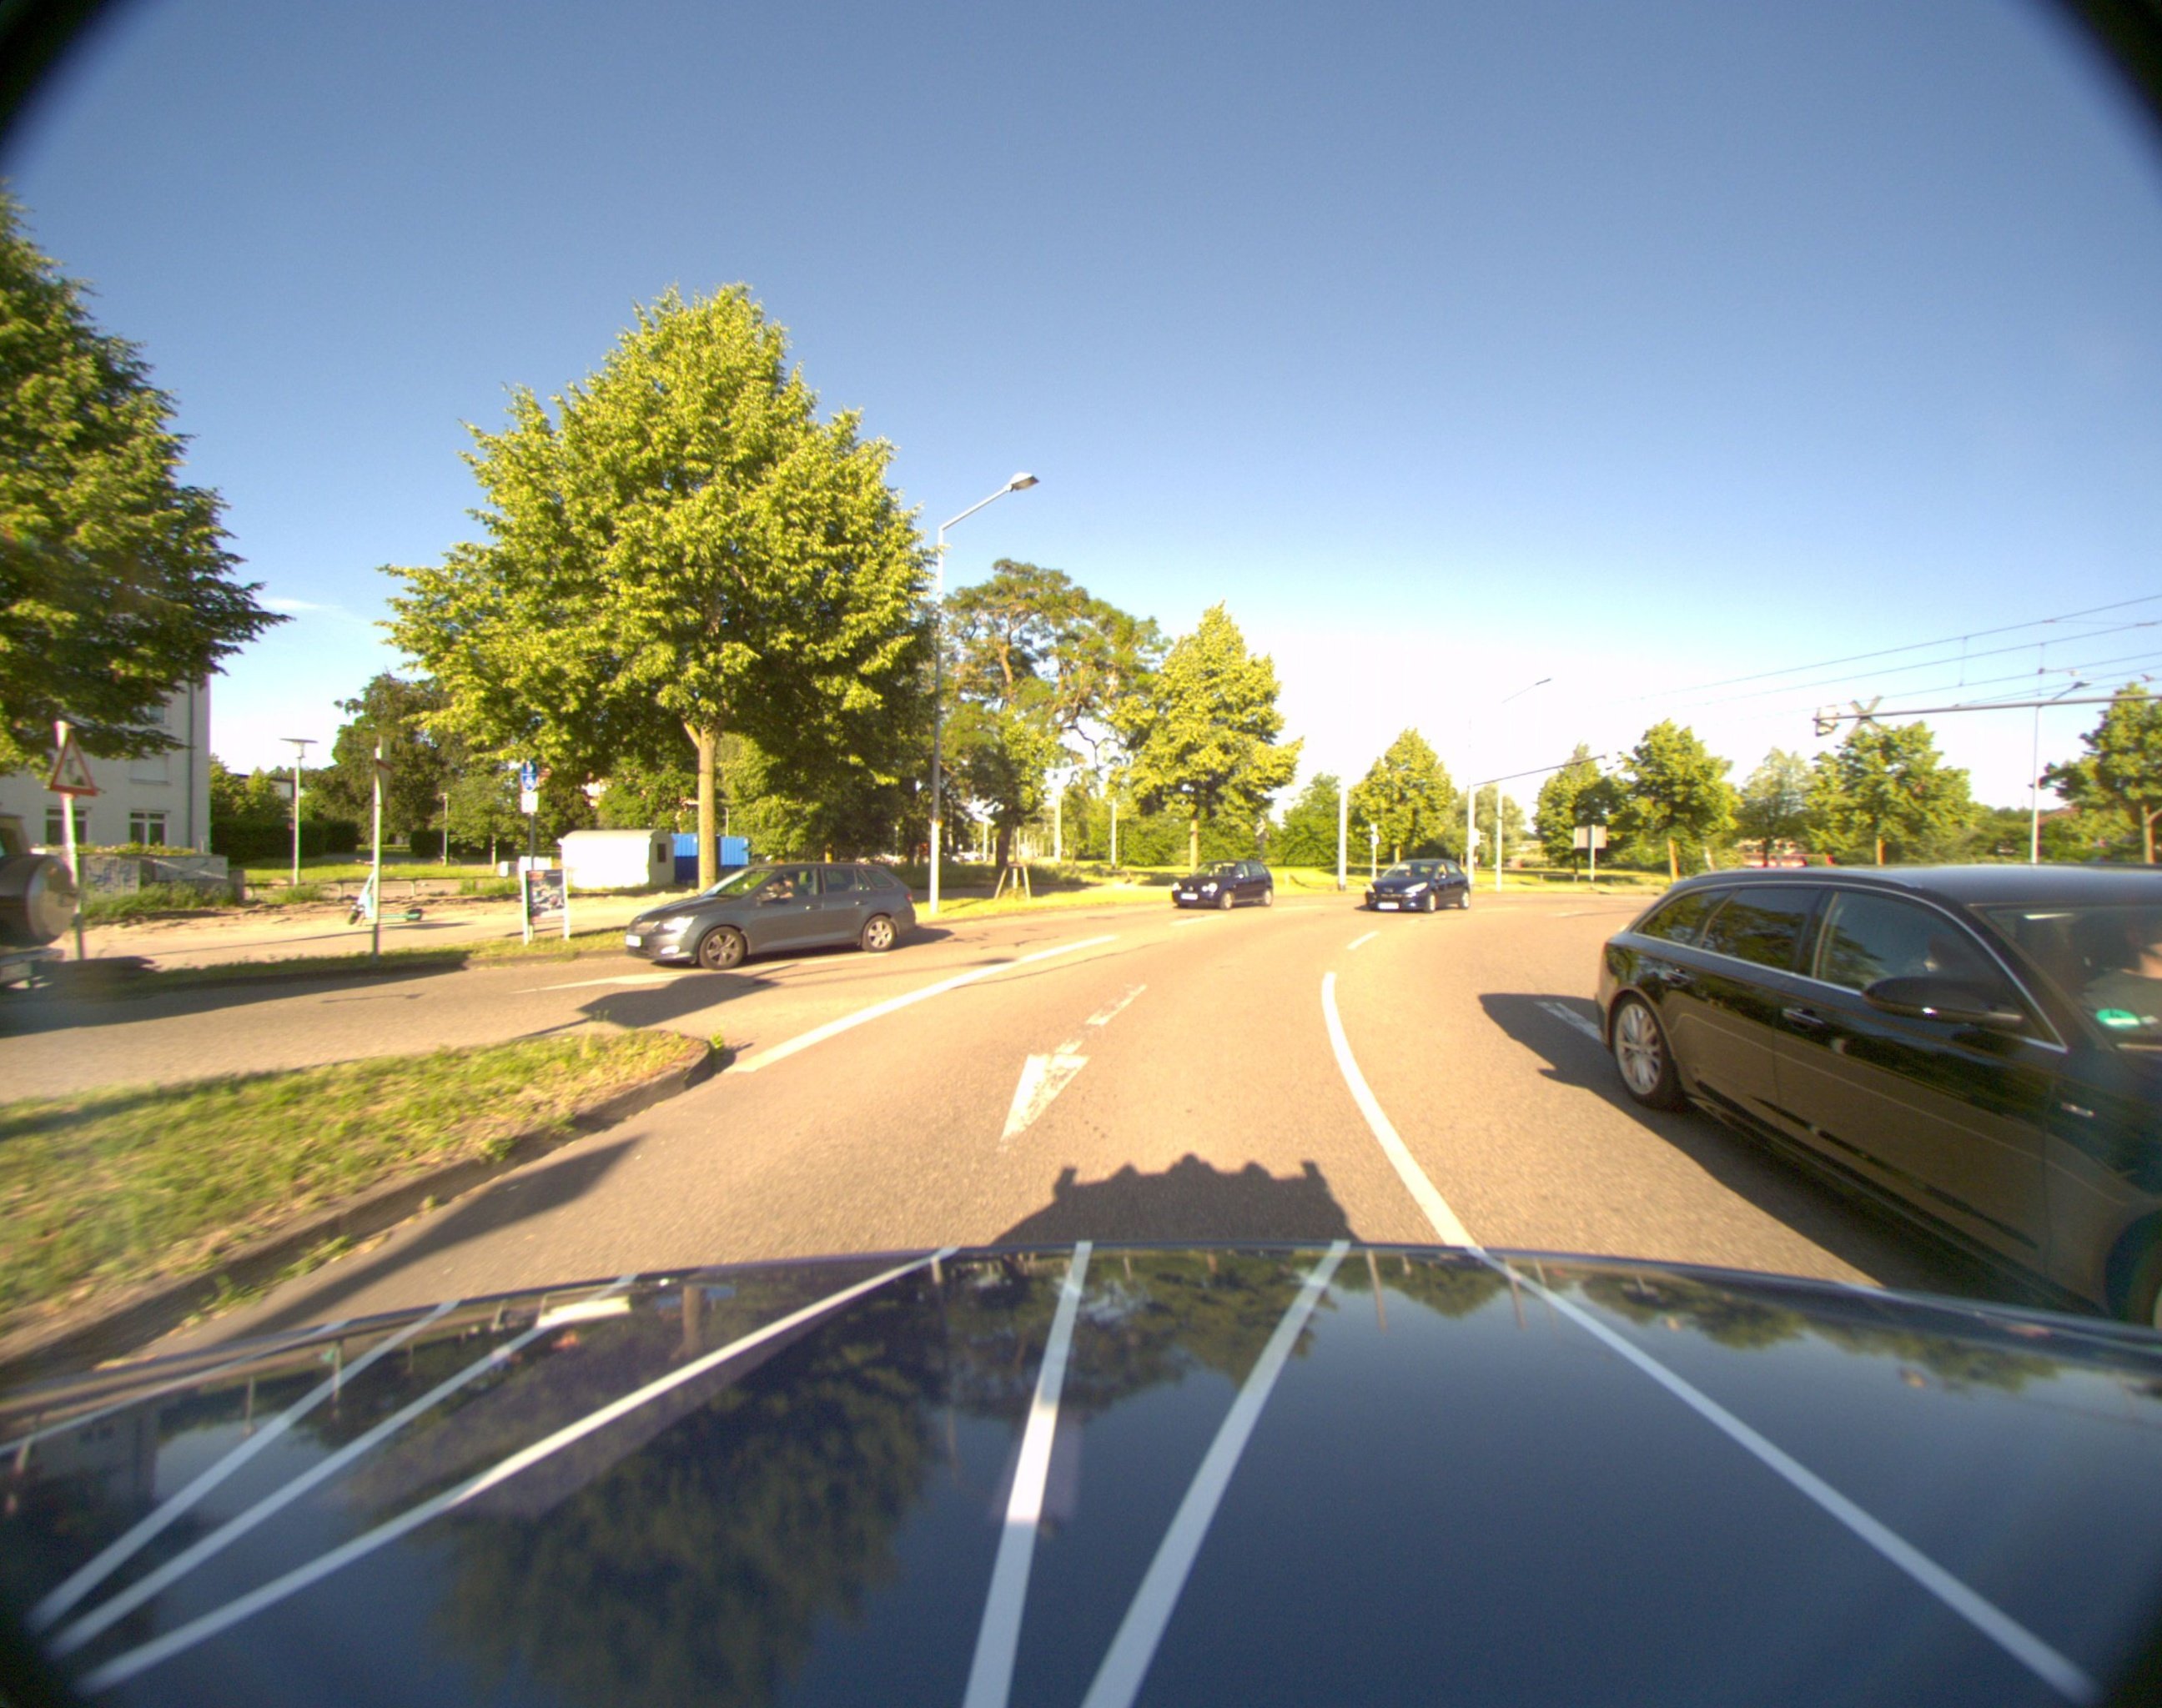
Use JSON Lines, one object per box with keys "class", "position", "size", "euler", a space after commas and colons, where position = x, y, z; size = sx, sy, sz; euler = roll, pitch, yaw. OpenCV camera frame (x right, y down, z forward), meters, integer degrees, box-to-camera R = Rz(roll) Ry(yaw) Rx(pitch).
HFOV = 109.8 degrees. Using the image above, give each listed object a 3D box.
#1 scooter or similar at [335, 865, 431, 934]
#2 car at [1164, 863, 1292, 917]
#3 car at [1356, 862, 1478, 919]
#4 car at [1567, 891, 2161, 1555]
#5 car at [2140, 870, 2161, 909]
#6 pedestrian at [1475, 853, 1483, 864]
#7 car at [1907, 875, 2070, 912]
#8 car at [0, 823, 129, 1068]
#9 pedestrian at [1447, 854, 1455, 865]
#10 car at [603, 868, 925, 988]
{"class": "scooter or similar", "position": [-13.420, 0.849, 14.641], "size": [0.443, 1.240, 1.267], "euler": [-1, 0, 22]}
{"class": "car", "position": [4.570, 1.024, 23.171], "size": [1.633, 1.459, 4.556], "euler": [0, 0, 43]}
{"class": "car", "position": [9.702, 0.977, 21.791], "size": [4.008, 1.445, 1.753], "euler": [0, -1, -43]}
{"class": "car", "position": [3.738, 0.958, 2.753], "size": [1.795, 1.434, 5.023], "euler": [-1, -1, 14]}
{"class": "car", "position": [40.828, 1.226, 26.478], "size": [4.530, 1.371, 1.939], "euler": [-1, -1, 9]}
{"class": "pedestrian", "position": [50.791, 0.568, 96.899], "size": [0.660, 1.432, 0.796], "euler": [1, 0, 44]}
{"class": "car", "position": [36.723, 1.595, 30.855], "size": [4.062, 1.371, 1.726], "euler": [-1, -1, 9]}
{"class": "car", "position": [-10.826, 0.714, 5.340], "size": [4.761, 1.886, 1.998], "euler": [0, 0, -35]}
{"class": "pedestrian", "position": [48.483, 0.671, 99.544], "size": [0.685, 1.432, 0.796], "euler": [1, 0, 44]}
{"class": "car", "position": [-4.582, 0.949, 11.512], "size": [1.714, 1.427, 4.161], "euler": [0, 0, 40]}
